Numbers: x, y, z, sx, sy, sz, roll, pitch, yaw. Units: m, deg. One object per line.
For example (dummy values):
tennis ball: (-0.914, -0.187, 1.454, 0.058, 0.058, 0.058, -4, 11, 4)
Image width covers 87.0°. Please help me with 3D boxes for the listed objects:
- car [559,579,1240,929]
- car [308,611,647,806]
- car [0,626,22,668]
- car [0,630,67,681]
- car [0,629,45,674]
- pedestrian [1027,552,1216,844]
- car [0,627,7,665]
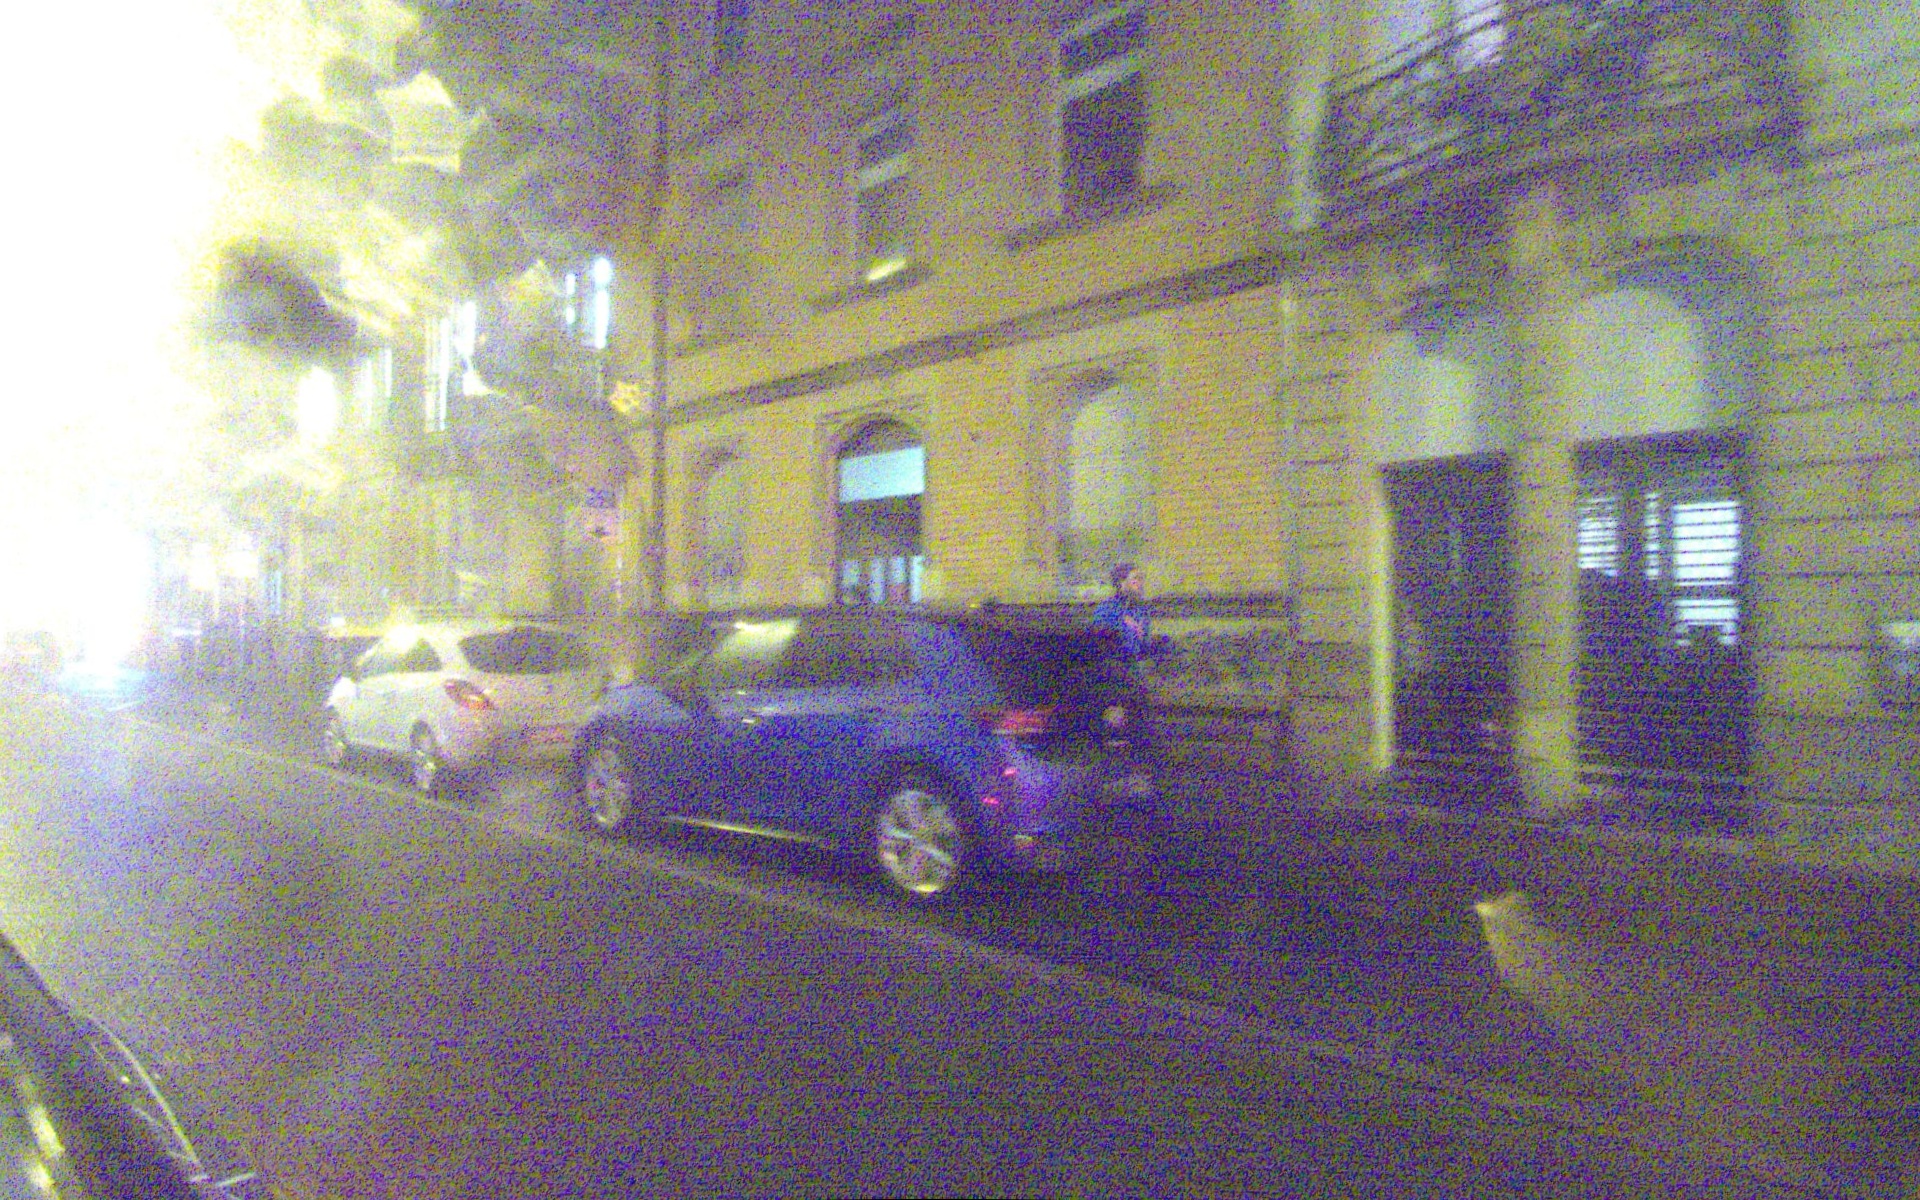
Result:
car: (-0.587, 0.719, 6.290, 4.154, 1.490, 1.699, -2, -2, 38)
car: (-4.747, 0.885, 9.709, 3.786, 1.489, 1.697, -2, -1, 43)
car: (-38.066, 1.831, 39.469, 3.733, 1.592, 1.828, -2, -1, 41)
car: (-29.419, 1.700, 31.612, 3.733, 1.489, 1.828, -2, -1, 41)
car: (-33.571, 1.788, 35.474, 3.733, 1.489, 1.828, -2, -1, 41)
pedestrian: (1.104, 0.630, 7.009, 1.078, 1.846, 0.667, -2, -2, 43)
car: (-42.668, 2.005, 43.704, 3.733, 1.592, 1.828, -2, -1, 41)
